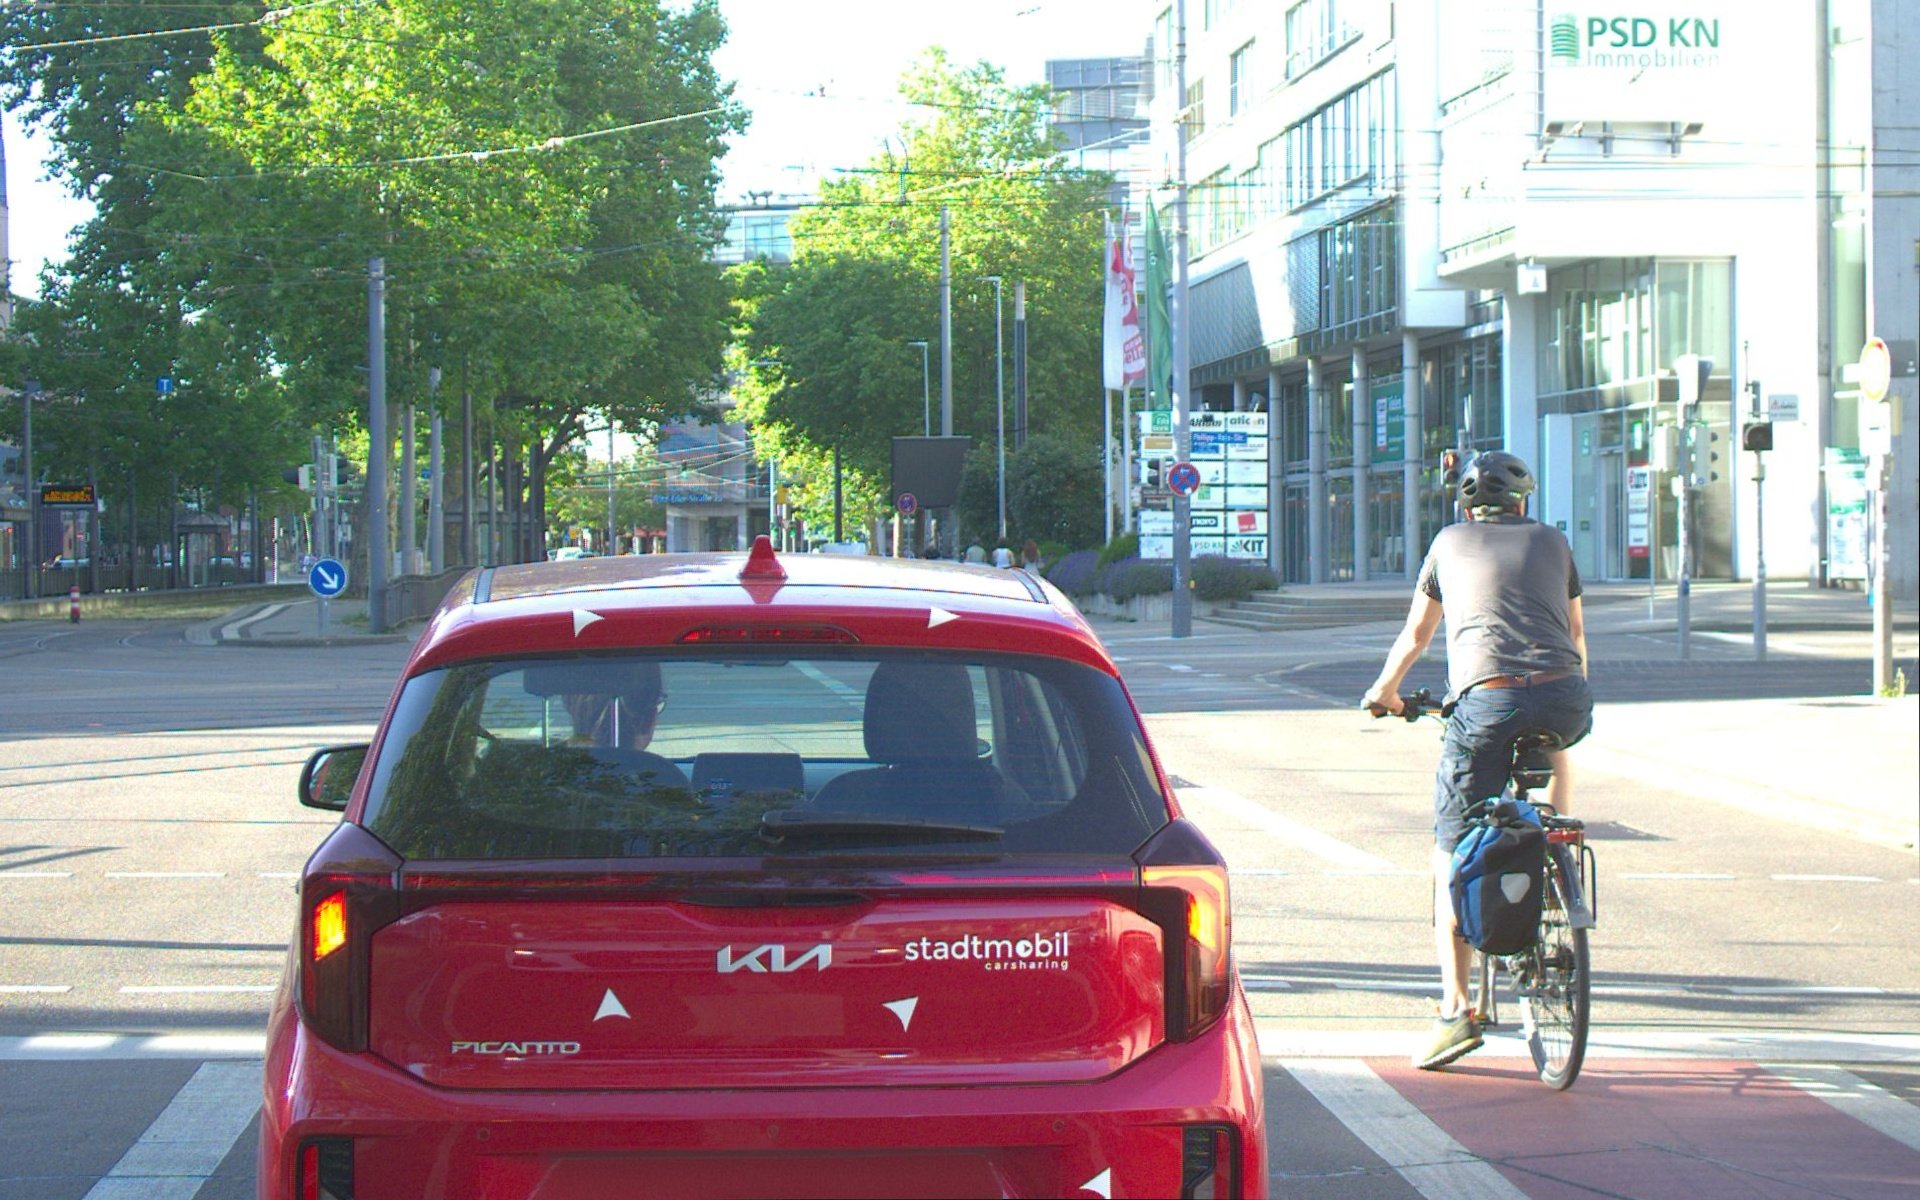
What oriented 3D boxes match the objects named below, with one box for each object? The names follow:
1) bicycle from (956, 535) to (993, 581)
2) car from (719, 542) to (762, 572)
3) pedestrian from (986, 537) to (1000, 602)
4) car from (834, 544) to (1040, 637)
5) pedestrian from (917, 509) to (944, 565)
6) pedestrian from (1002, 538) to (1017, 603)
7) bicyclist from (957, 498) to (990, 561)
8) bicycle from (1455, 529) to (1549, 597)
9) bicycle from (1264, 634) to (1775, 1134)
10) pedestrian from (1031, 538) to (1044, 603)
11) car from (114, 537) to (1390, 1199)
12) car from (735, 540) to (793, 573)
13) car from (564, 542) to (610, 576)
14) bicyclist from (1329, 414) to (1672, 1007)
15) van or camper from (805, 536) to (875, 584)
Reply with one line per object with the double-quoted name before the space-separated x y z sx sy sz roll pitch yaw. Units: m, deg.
"bicycle" 0.386 -1.107 89.368 0.792 1.157 2.499 0 1 4
"car" -11.608 -2.298 181.387 1.884 1.523 4.433 -1 1 -8
"pedestrian" 0.802 -0.725 82.777 0.294 1.556 0.302 -1 1 -3
"car" -0.446 -0.185 61.088 1.843 1.562 4.274 -1 1 -28
"pedestrian" -0.899 -1.918 104.579 0.742 1.710 0.748 -1 1 -7
"pedestrian" 1.197 -0.722 82.742 0.294 1.556 0.356 -1 1 -5
"bicyclist" 0.351 -1.826 89.089 0.785 1.629 0.639 0 1 5
"bicycle" 11.832 -0.811 75.067 1.934 1.438 0.575 -1 1 -6
"bicycle" 1.565 0.755 10.066 0.743 1.220 2.157 1 1 -11
"pedestrian" 1.871 -0.721 82.971 0.294 1.556 0.314 -1 1 5
"car" -0.451 0.630 6.847 1.839 1.484 3.717 -1 1 -5
"car" -9.482 -2.112 166.300 2.478 1.523 4.433 -1 1 -7
"car" -19.049 -2.102 175.328 2.057 1.648 3.493 -1 1 -10
"bicyclist" 1.567 0.306 10.064 0.743 1.663 0.745 1 1 -11
"van or camper" -4.634 -1.548 132.183 2.145 1.744 4.433 -1 1 -8
